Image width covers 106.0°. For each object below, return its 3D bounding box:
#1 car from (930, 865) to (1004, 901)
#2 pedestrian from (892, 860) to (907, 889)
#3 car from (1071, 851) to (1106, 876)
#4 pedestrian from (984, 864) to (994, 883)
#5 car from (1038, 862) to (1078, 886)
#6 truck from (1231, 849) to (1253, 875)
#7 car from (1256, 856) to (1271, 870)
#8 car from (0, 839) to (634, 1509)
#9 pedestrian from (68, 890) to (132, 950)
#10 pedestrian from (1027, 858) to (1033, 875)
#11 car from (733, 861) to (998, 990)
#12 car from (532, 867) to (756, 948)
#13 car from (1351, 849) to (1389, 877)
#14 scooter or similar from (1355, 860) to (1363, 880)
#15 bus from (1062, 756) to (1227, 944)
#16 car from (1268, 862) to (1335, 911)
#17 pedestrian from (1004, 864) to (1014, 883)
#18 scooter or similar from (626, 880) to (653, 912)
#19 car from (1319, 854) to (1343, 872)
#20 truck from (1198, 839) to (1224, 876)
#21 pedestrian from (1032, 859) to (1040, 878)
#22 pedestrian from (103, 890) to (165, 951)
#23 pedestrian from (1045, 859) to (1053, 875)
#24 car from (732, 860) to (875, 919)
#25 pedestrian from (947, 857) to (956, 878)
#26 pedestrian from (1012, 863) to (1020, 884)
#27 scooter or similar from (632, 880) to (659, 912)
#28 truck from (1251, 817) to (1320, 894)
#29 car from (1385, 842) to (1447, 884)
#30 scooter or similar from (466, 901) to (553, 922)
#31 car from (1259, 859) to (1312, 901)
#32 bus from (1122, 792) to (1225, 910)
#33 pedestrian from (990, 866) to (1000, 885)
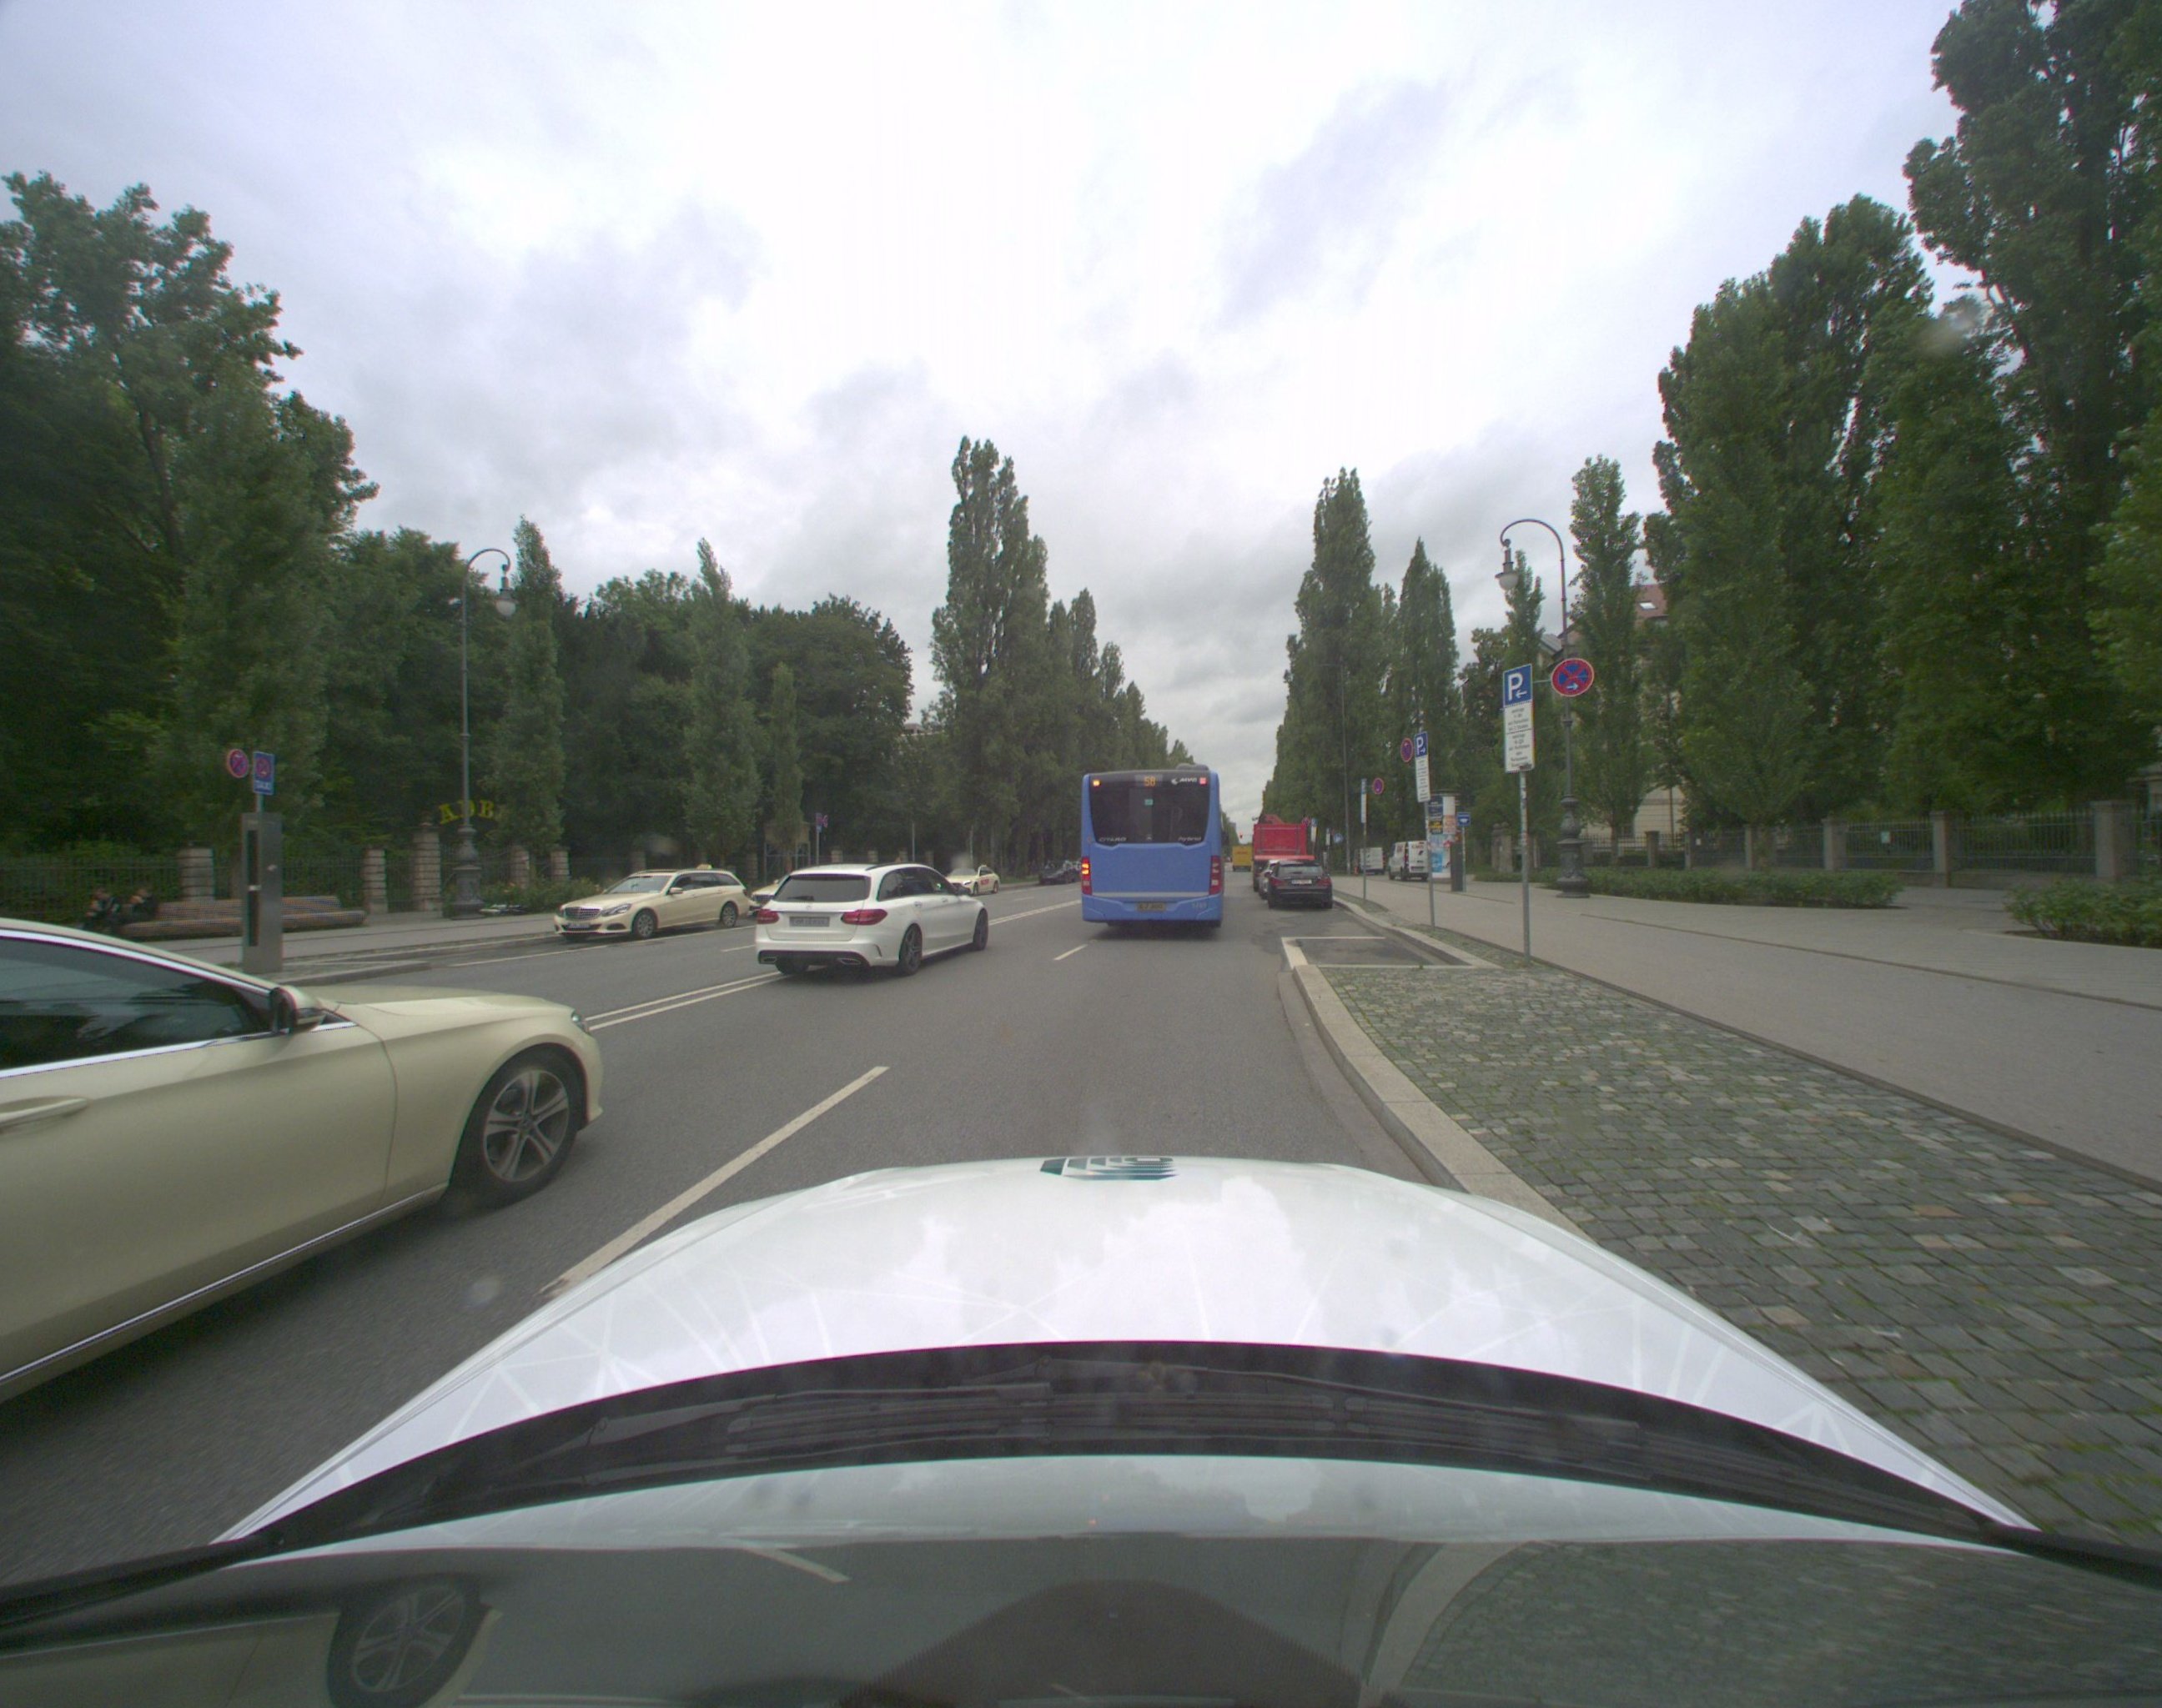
[{"bbox_3d":[-5.464,1.357,39.672,1.917,1.497,4.807,-2,0,13],"label":"car"},{"bbox_3d":[-10.833,1.204,48.623,0.579,1.720,0.789,-1,-1,10],"label":"pedestrian"},{"bbox_3d":[0.717,0.826,69.251,1.980,1.956,4.953,-3,-1,12],"label":"car"},{"bbox_3d":[-7.926,1.706,70.379,0.614,1.660,0.707,-1,-1,13],"label":"pedestrian"},{"bbox_3d":[-1.564,1.392,57.992,1.770,1.596,4.628,-3,-1,12],"label":"car"},{"bbox_3d":[18.621,0.959,94.256,2.312,2.898,7.355,-1,-1,11],"label":"truck"},{"bbox_3d":[26.546,1.313,118.712,2.039,2.014,5.711,-1,-1,12],"label":"car"},{"bbox_3d":[-3.482,0.738,1.974,1.906,1.575,4.694,1,-1,4],"label":"car"},{"bbox_3d":[-22.914,1.526,19.035,0.576,1.337,0.836,-1,-1,-15],"label":"pedestrian"},{"bbox_3d":[-5.222,1.235,83.028,0.505,1.707,0.571,-1,-1,12],"label":"pedestrian"},{"bbox_3d":[-2.723,0.830,11.578,1.814,1.454,4.596,0,-1,11],"label":"car"},{"bbox_3d":[-9.812,1.128,18.841,1.806,1.559,4.874,-3,-1,12],"label":"car"},{"bbox_3d":[21.180,0.658,59.784,1.980,1.946,5.100,-1,-1,13],"label":"car"},{"bbox_3d":[18.028,1.009,52.810,0.334,1.265,1.190,-1,-1,13],"label":"scooter or similar"},{"bbox_3d":[1.841,-0.027,18.670,2.838,3.213,9.083,-1,-1,10],"label":"bus"},{"bbox_3d":[6.483,0.906,24.334,1.723,1.310,4.385,-1,-1,13],"label":"car"},{"bbox_3d":[-7.035,1.880,79.368,0.742,1.854,0.760,-1,-1,12],"label":"pedestrian"},{"bbox_3d":[-16.870,1.591,31.137,0.241,1.201,1.126,-1,-1,12],"label":"scooter or similar"},{"bbox_3d":[27.854,1.013,90.963,1.981,1.925,5.340,-1,-1,11],"label":"car"},{"bbox_3d":[14.934,0.462,93.310,2.699,3.965,9.243,-1,-1,10],"label":"truck"},{"bbox_3d":[-4.590,1.477,83.060,0.620,2.014,0.598,-1,-1,13],"label":"pedestrian"},{"bbox_3d":[-22.263,1.547,19.161,0.576,1.337,0.836,-1,-1,-14],"label":"pedestrian"},{"bbox_3d":[-3.518,1.457,89.556,0.604,1.757,0.759,-1,-1,10],"label":"pedestrian"},{"bbox_3d":[-8.521,1.074,25.547,1.924,1.624,4.980,-2,-2,12],"label":"car"},{"bbox_3d":[-12.433,1.300,78.131,0.692,2.014,0.562,-1,-1,11],"label":"pedestrian"},{"bbox_3d":[-6.357,1.871,79.645,0.662,2.014,0.640,-1,-1,11],"label":"pedestrian"},{"bbox_3d":[-16.614,1.589,31.081,0.241,1.201,1.126,-1,-1,12],"label":"scooter or similar"},{"bbox_3d":[9.525,0.103,38.725,2.695,3.110,10.461,-1,-1,12],"label":"truck"},{"bbox_3d":[16.453,0.411,40.273,1.868,1.945,4.899,0,0,10],"label":"car"},{"bbox_3d":[-19.029,1.898,27.213,2.243,0.518,1.320,-1,0,-29],"label":"scooter or similar"},{"bbox_3d":[7.553,0.919,30.374,1.776,1.460,4.231,0,0,12],"label":"car"},{"bbox_3d":[3.443,-0.024,27.857,2.854,3.304,9.816,-1,-1,10],"label":"bus"},{"bbox_3d":[-7.887,1.937,74.400,0.662,1.722,0.736,-1,-1,13],"label":"pedestrian"}]
